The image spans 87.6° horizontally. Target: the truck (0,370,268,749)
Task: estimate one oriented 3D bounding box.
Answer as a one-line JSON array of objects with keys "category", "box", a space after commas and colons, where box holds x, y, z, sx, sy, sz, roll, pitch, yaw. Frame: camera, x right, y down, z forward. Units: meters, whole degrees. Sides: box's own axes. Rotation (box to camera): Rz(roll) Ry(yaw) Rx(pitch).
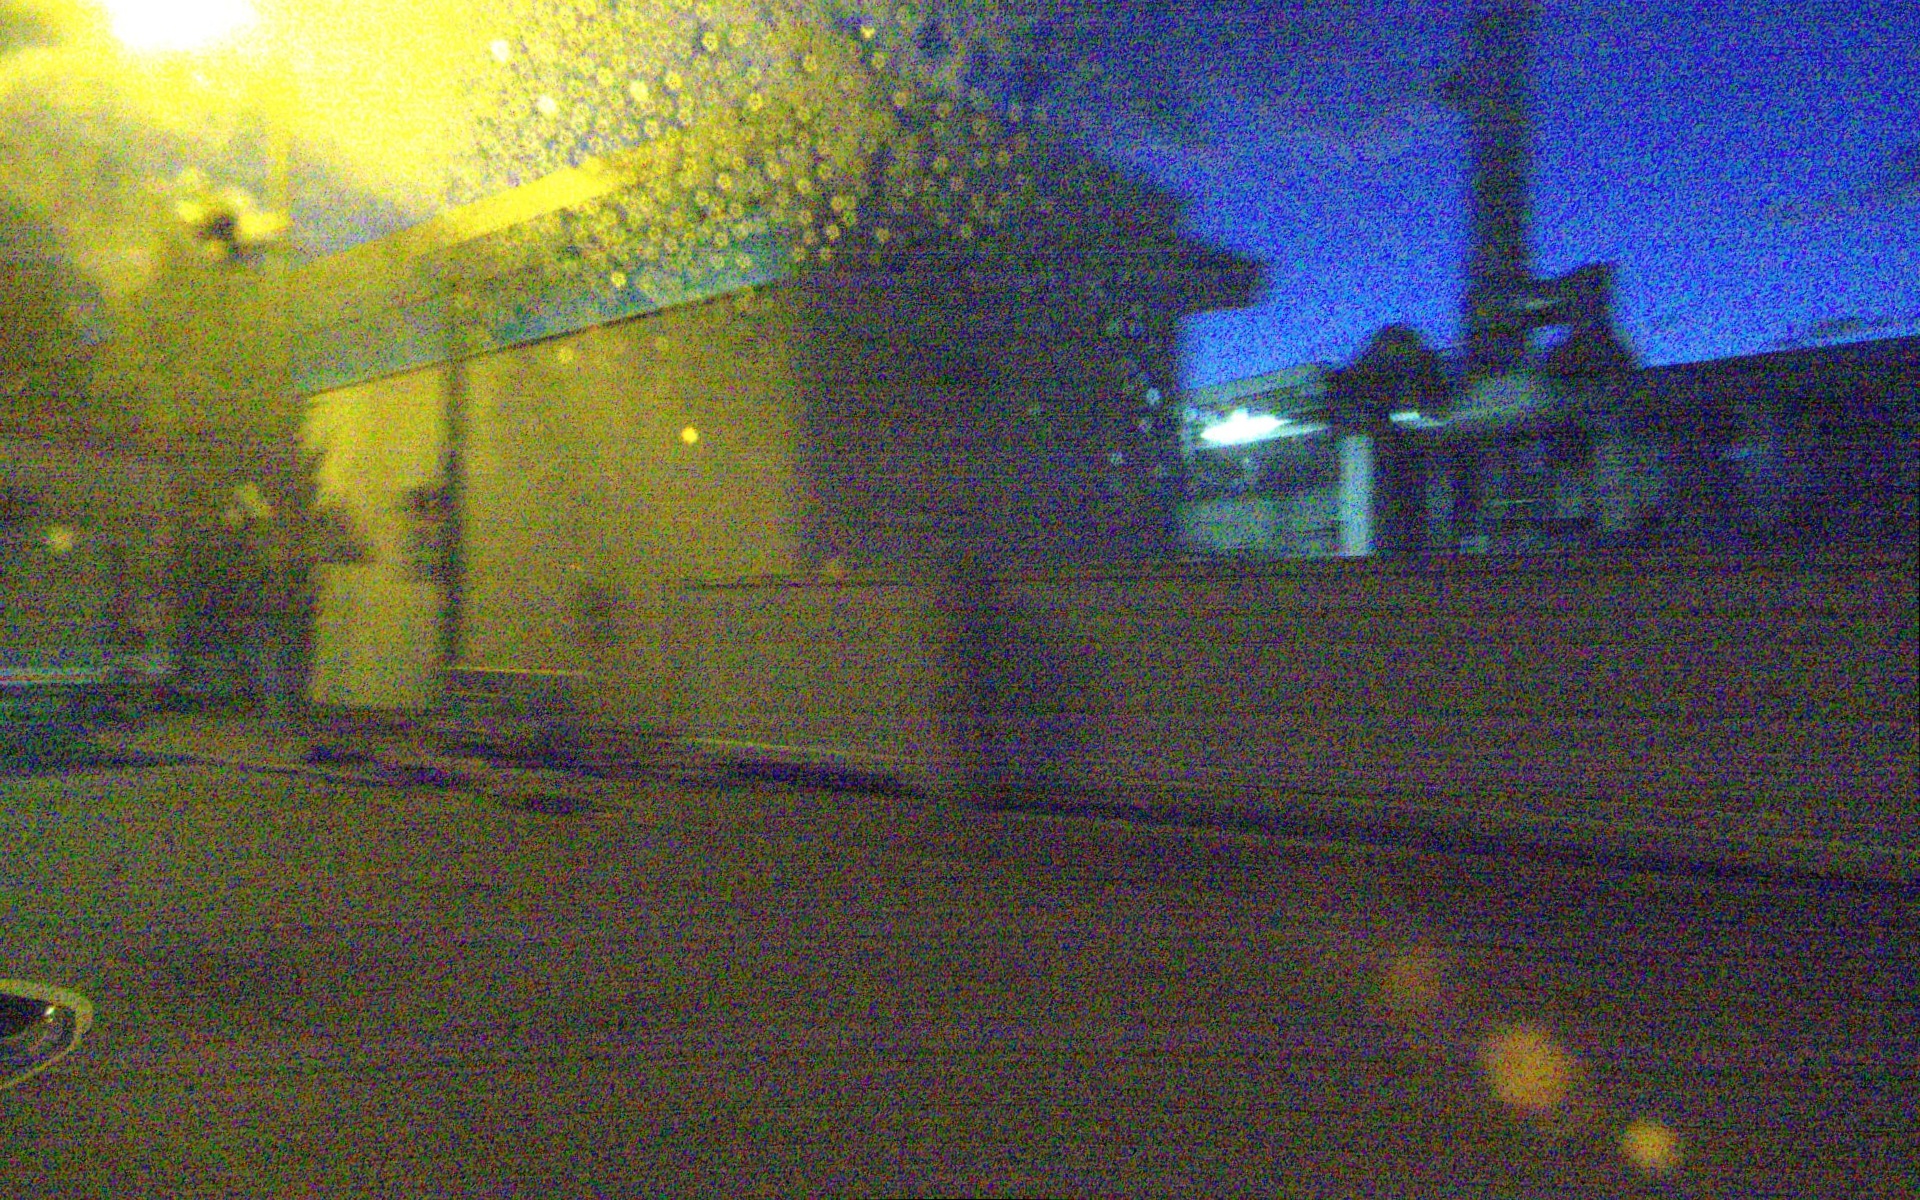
[{"category": "truck", "box": [-14.164, -0.282, 13.985, 10.191, 4.035, 3.515, -2, -1, 31]}]
